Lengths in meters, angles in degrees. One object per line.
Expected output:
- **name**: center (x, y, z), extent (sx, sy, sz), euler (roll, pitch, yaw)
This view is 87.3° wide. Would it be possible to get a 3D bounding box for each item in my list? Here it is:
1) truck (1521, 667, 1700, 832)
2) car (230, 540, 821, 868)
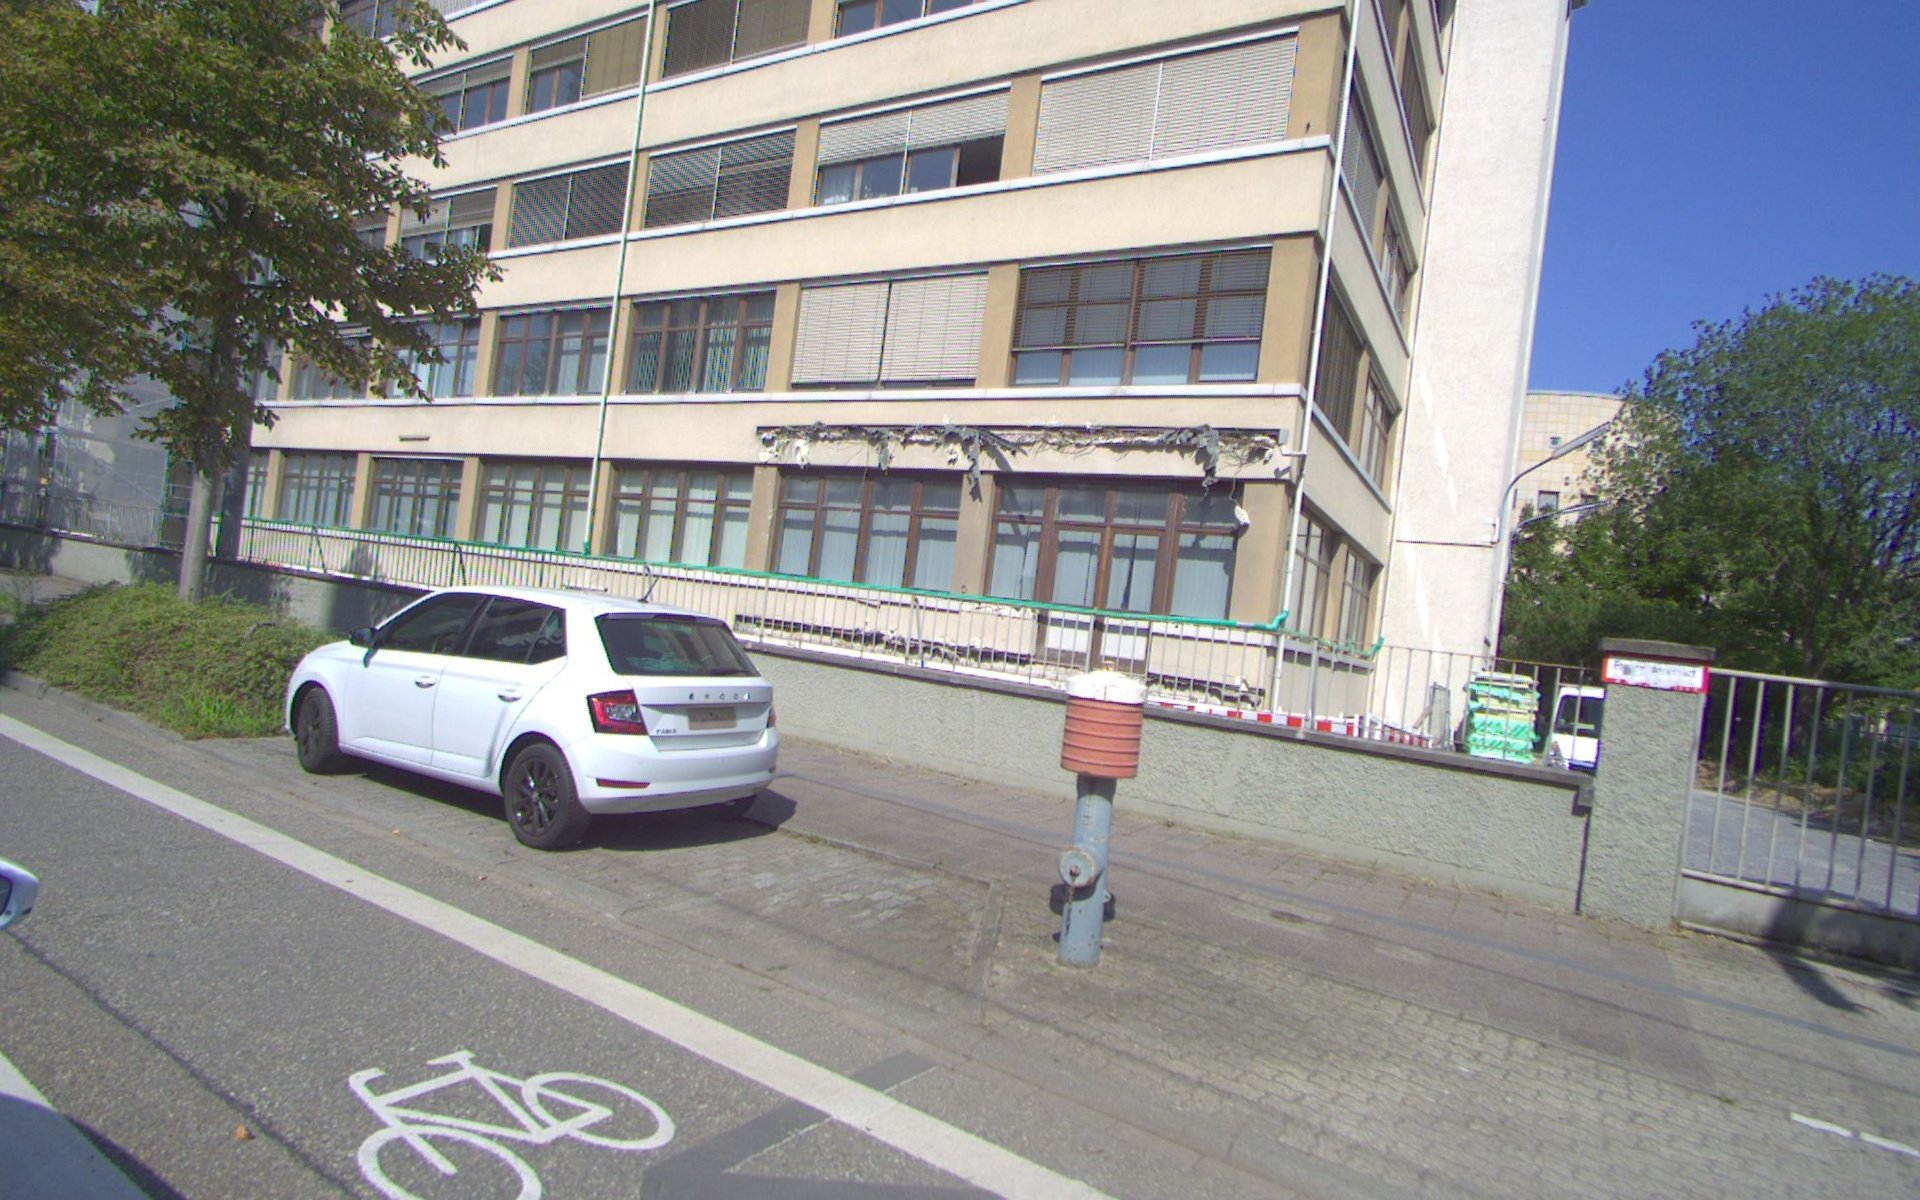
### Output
- **truck**: center (12.142, 2.700, 18.957), extent (2.261, 2.352, 5.517), euler (7, -2, 32)
- **car**: center (-3.191, 0.554, 7.124), extent (4.147, 1.499, 1.662), euler (6, -1, 32)
